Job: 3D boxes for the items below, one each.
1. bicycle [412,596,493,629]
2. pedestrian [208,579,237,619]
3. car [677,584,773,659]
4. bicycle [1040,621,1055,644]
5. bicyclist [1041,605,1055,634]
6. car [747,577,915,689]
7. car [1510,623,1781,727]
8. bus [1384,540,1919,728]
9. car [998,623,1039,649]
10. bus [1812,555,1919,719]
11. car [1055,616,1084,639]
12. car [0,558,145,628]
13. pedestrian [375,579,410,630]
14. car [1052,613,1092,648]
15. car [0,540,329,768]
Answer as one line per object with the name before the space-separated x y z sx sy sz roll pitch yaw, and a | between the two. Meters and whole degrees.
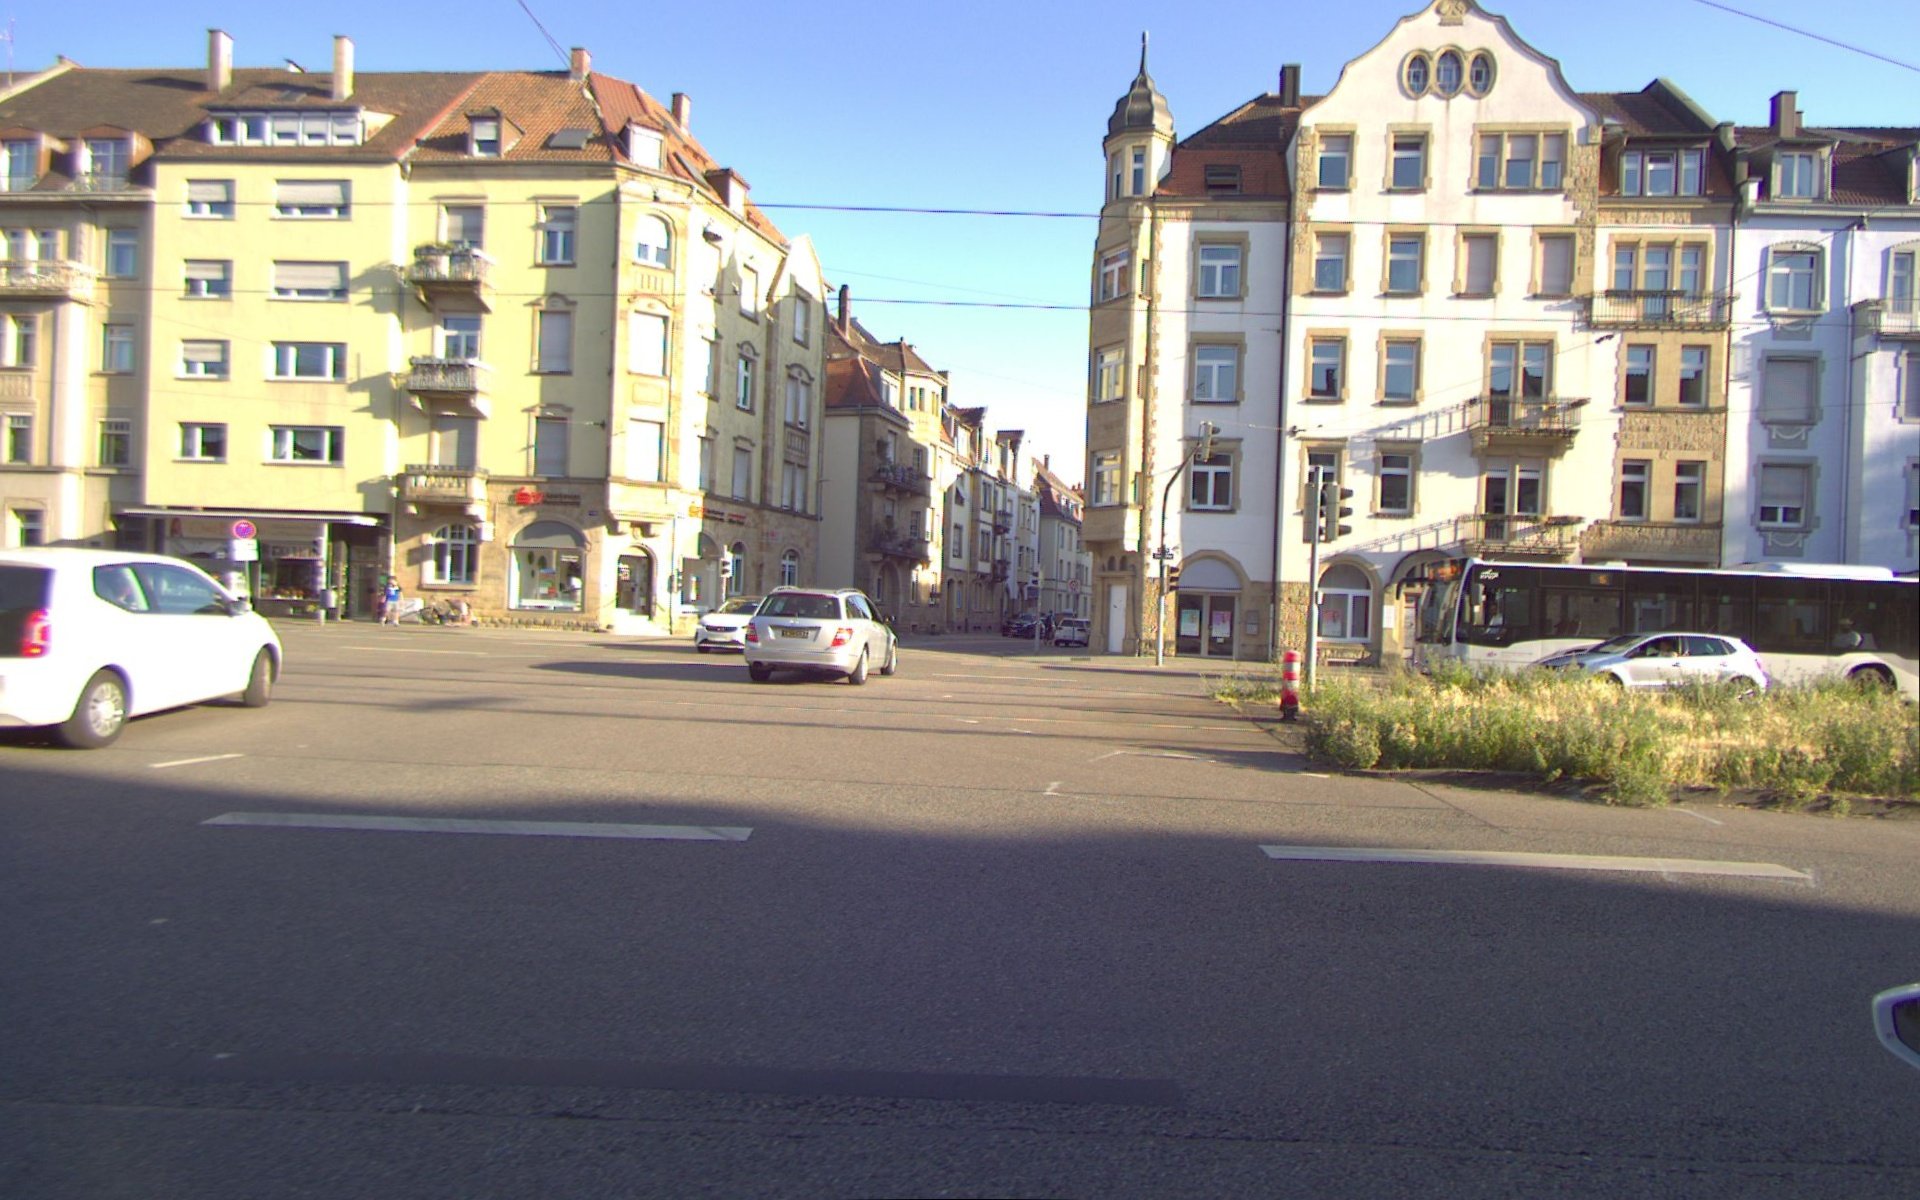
bicycle | -17.630 0.432 34.938 2.453 1.070 0.667 2 0 2
pedestrian | -25.574 -0.035 34.837 0.544 1.380 0.554 2 0 5
car | -6.133 0.508 25.896 1.809 1.728 3.980 3 0 -21
bicycle | 4.609 1.686 52.797 0.609 1.119 2.554 3 0 9
bicyclist | 4.649 1.024 52.838 0.599 1.513 0.768 3 0 9
car | -1.927 0.520 16.273 1.702 1.496 4.175 3 -1 6
car | 13.432 1.425 19.913 3.919 1.706 1.937 3 0 8
bus | 15.238 0.698 22.739 9.699 3.418 3.278 3 0 6
car | 4.041 2.468 69.086 1.799 1.637 4.001 3 0 18
bus | 25.949 1.091 21.617 11.736 3.418 3.267 3 0 5
car | 9.123 2.268 83.270 1.799 1.769 4.002 3 0 13
car | -27.542 -0.233 30.462 4.222 1.924 1.922 3 0 6
pedestrian | -19.292 0.155 34.144 0.755 1.662 0.631 2 0 3
car | 5.853 1.558 52.066 1.799 1.637 4.003 3 0 9
car | -7.225 0.295 8.585 1.706 1.500 3.807 3 1 -10
